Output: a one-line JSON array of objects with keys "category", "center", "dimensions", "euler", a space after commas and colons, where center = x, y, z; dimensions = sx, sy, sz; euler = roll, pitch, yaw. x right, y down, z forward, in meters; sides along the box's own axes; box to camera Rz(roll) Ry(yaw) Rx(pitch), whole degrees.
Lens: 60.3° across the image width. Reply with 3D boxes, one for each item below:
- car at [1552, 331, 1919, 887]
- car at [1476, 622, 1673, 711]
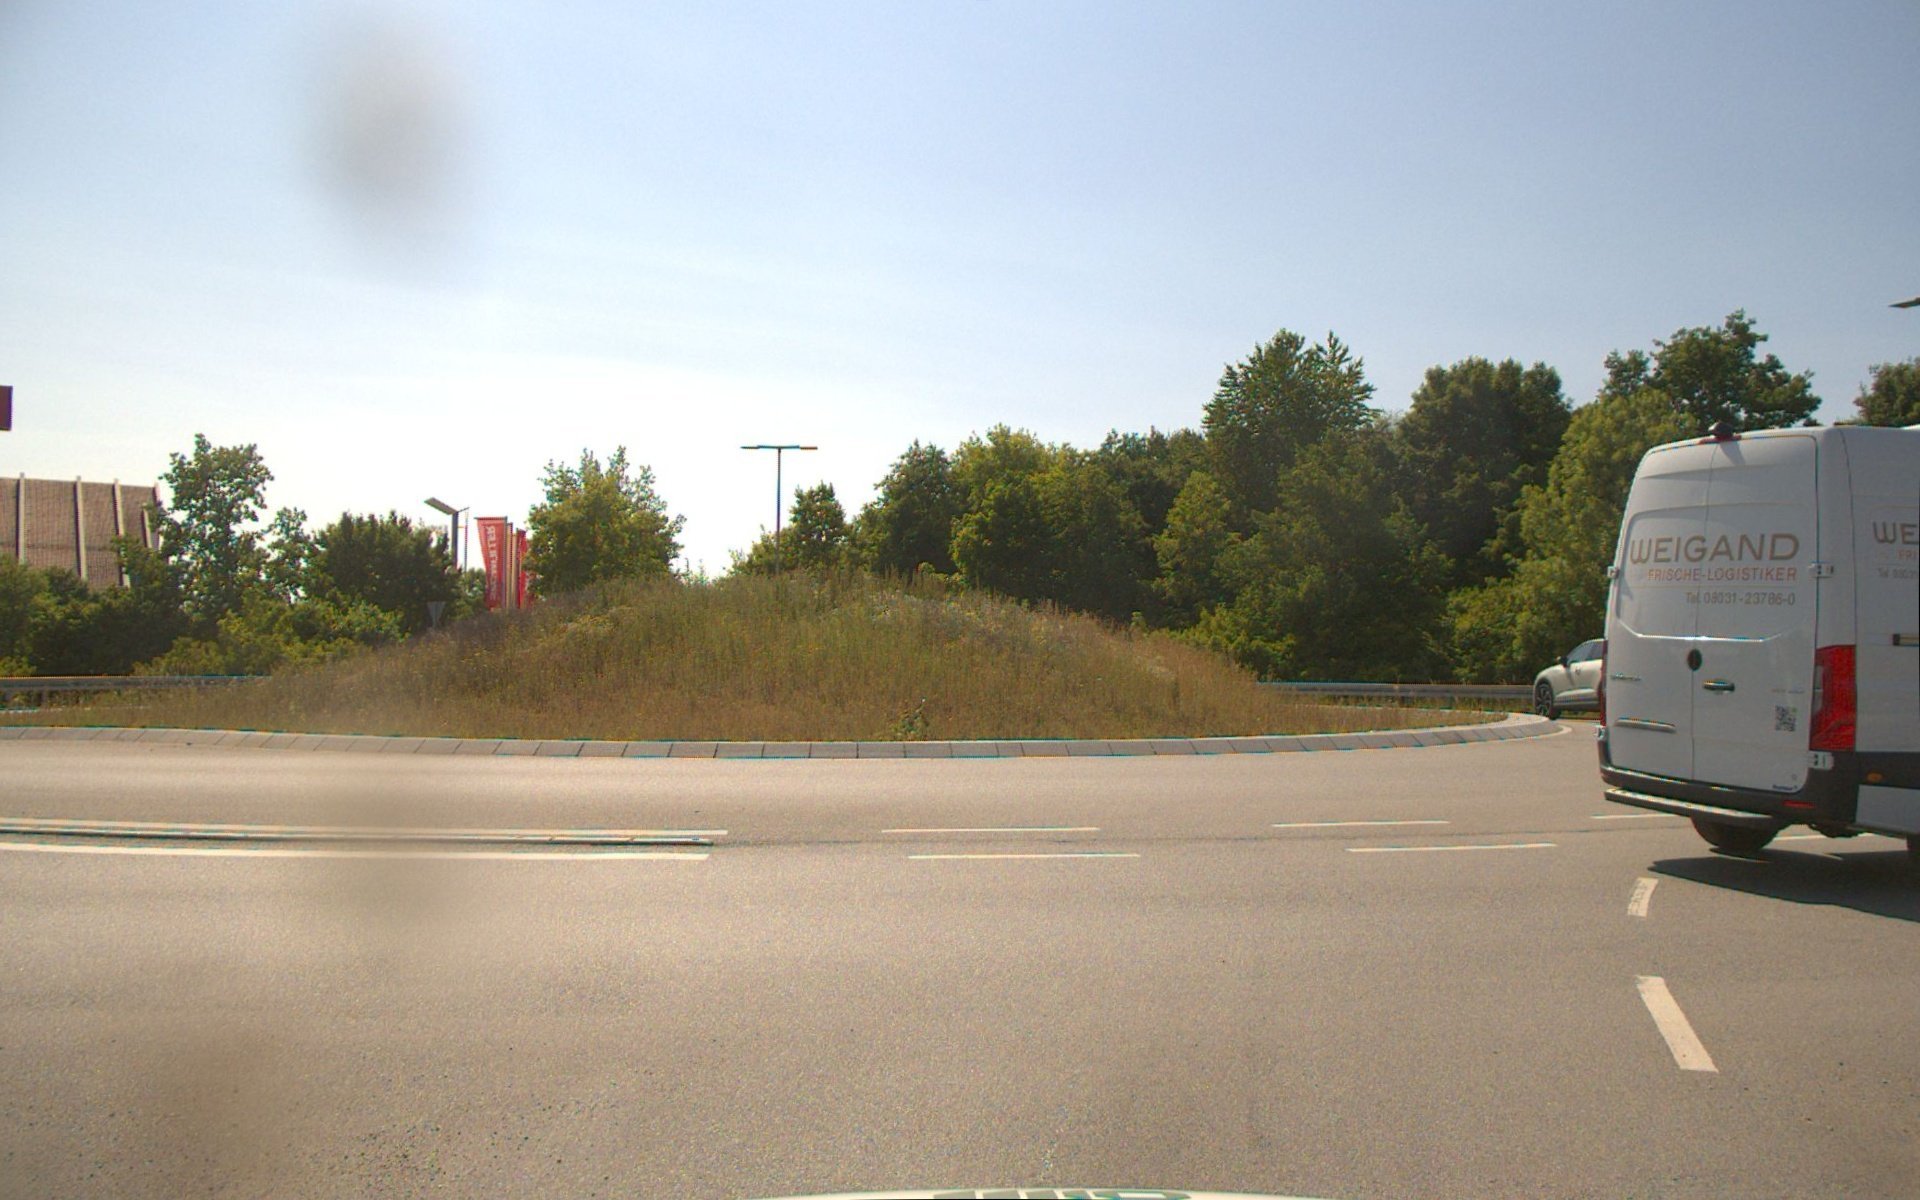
[{"category": "car", "center": [7.047, 0.133, 10.798], "dimensions": [6.025, 2.972, 2.073], "euler": [2, -1, -19]}, {"category": "car", "center": [12.156, 1.282, 33.019], "dimensions": [1.807, 1.624, 4.315], "euler": [1, -1, -9]}]
